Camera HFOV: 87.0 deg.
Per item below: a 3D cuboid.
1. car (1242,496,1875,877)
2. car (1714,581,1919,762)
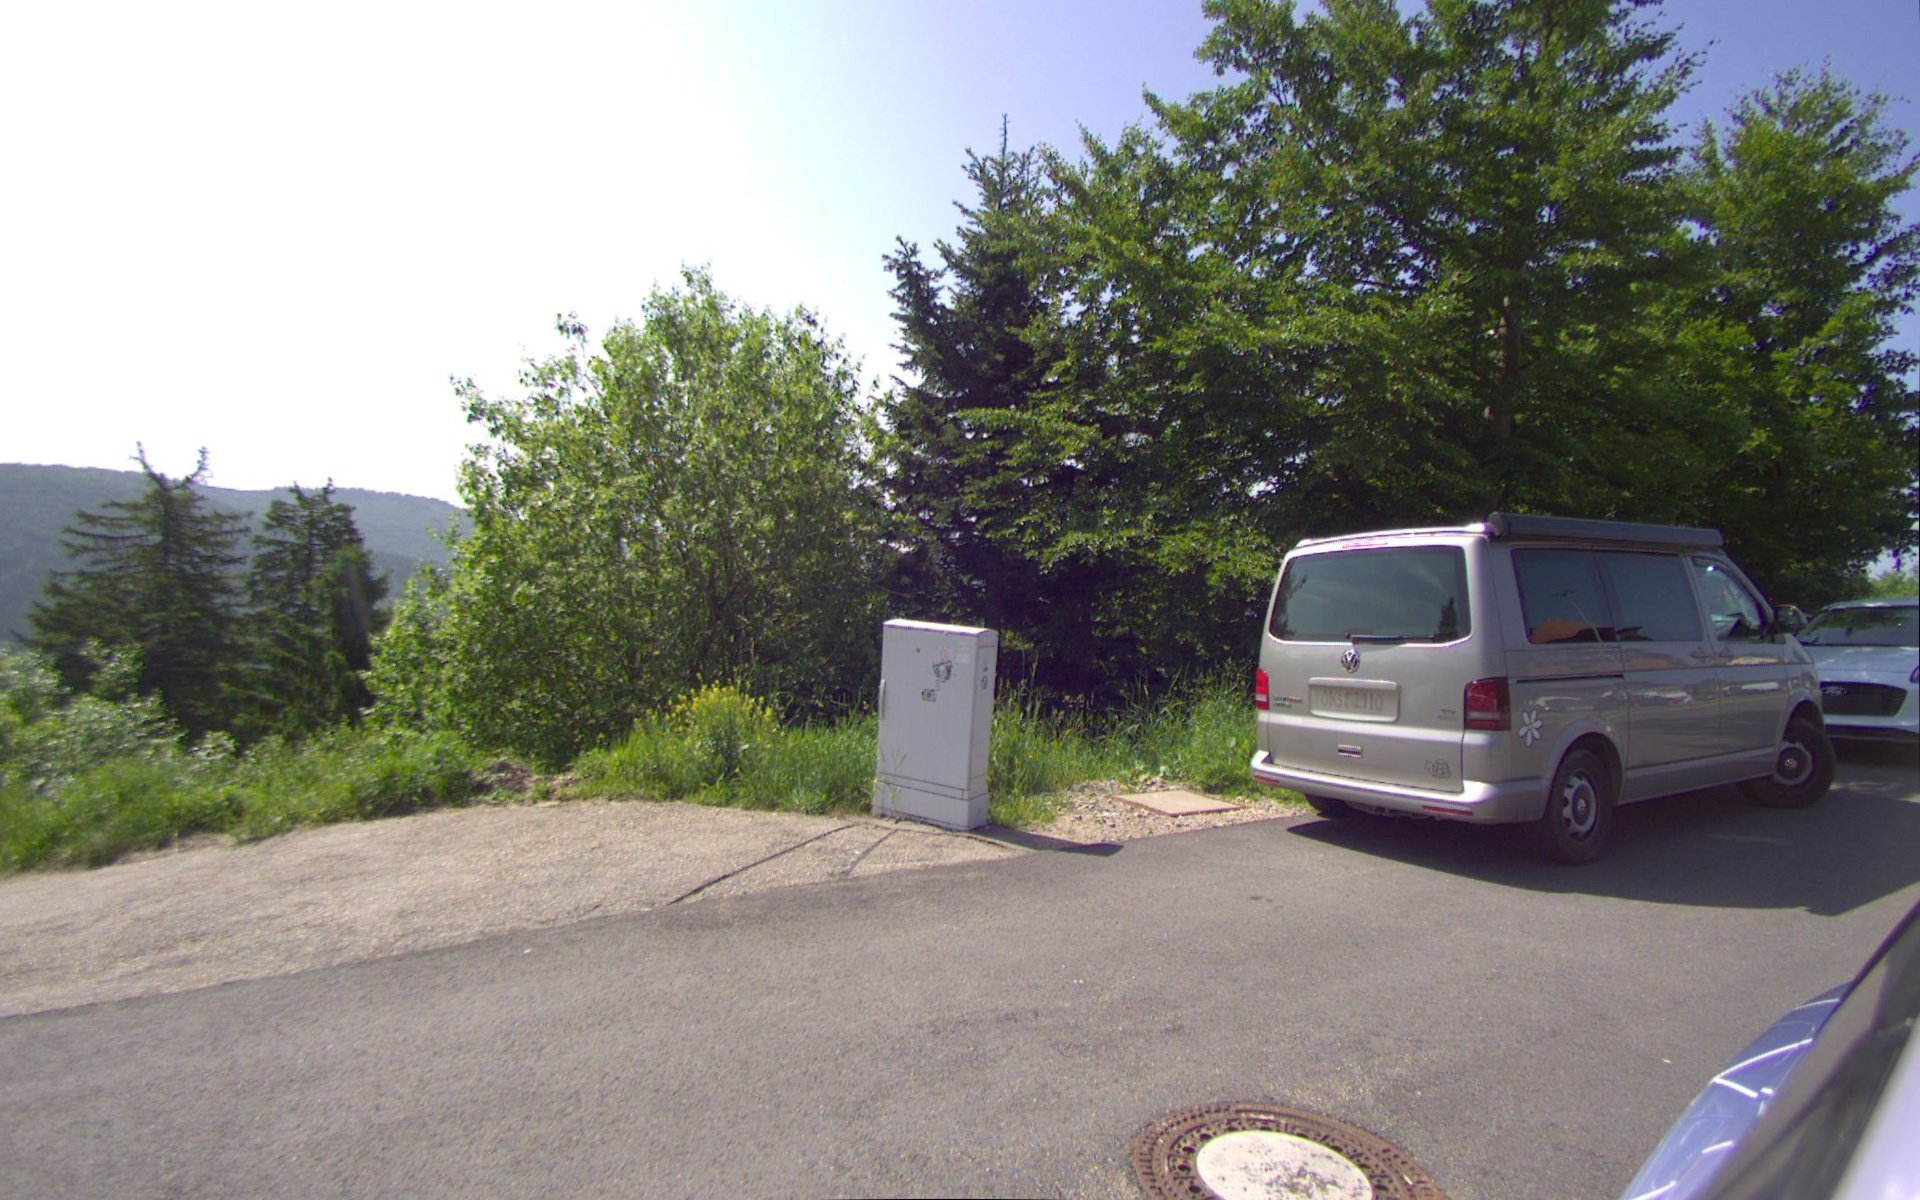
[{"bbox_3d":[4.325,0.467,7.156,4.516,1.960,1.864,0,-1,-30],"label":"car"},{"bbox_3d":[9.626,0.627,10.341,3.923,1.567,1.876,0,-1,-34],"label":"car"}]
